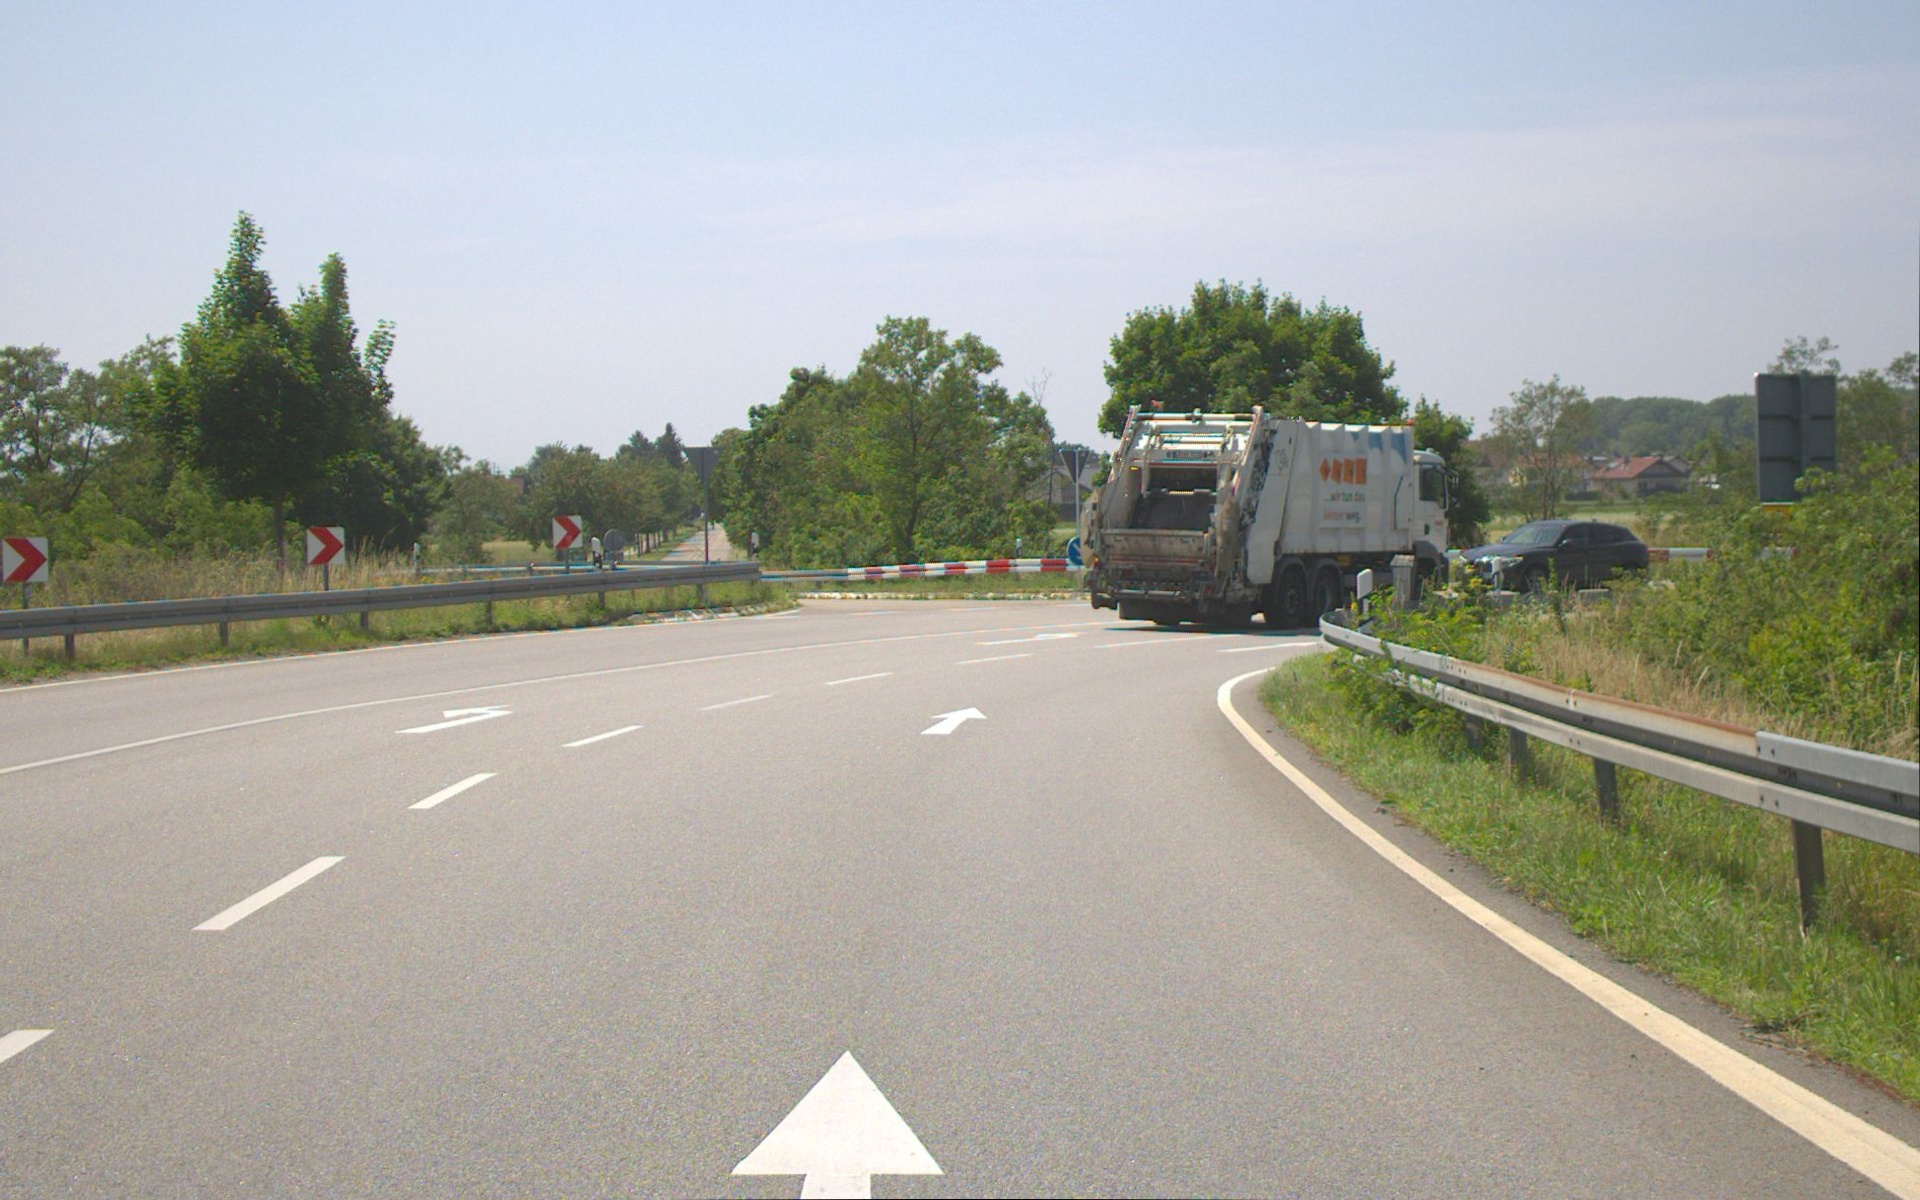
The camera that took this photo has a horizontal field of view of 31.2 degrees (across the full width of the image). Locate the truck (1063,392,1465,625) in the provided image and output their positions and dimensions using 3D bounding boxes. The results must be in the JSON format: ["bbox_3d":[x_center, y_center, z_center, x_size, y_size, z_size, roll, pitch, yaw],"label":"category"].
[{"bbox_3d":[5.424,-1.506,58.964,2.818,3.656,9.931,1,1,31],"label":"truck"}]

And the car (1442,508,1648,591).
[{"bbox_3d":[12.343,-1.063,72.397,4.554,1.652,1.717,0,3,-41],"label":"car"}]
